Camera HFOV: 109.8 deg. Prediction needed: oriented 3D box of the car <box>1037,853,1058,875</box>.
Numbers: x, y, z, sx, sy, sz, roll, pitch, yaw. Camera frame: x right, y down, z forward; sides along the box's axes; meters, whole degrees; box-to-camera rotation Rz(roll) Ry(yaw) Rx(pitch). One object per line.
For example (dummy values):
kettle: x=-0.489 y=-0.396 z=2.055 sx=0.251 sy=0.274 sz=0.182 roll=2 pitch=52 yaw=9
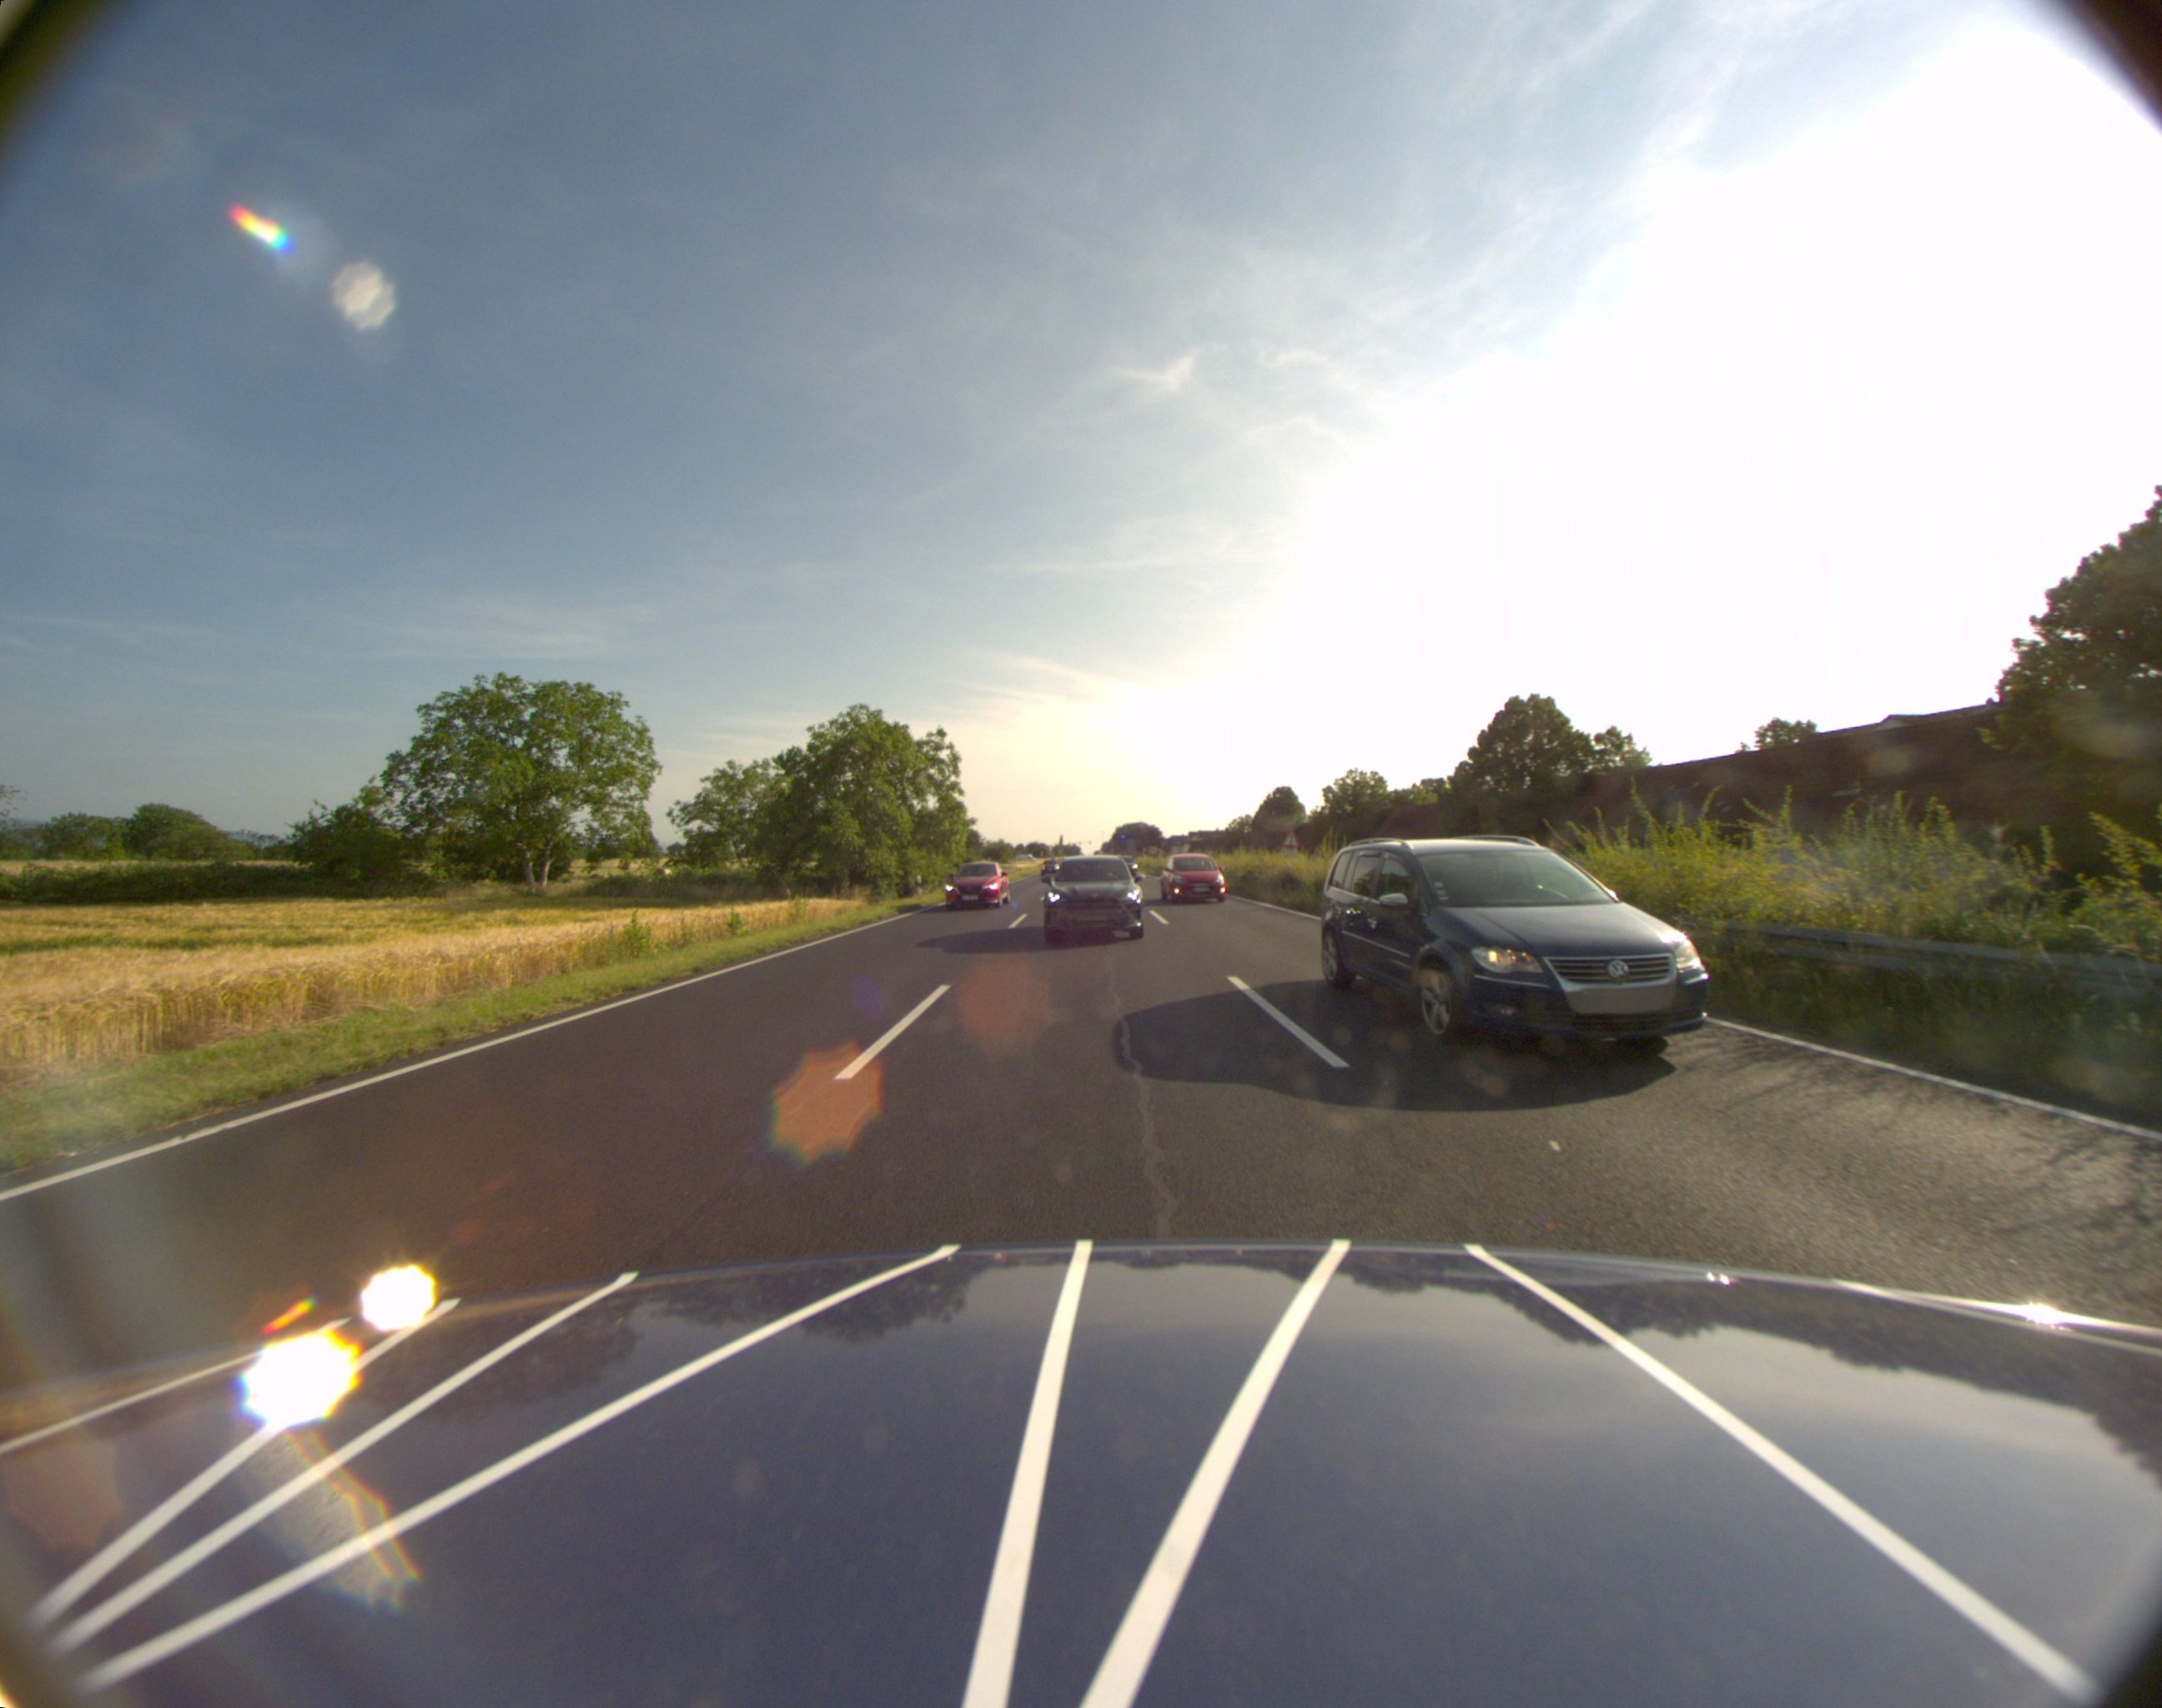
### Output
car: x=-3.334 y=0.946 z=75.898 sx=1.999 sy=2.002 sz=3.998 roll=-2 pitch=1 yaw=-2

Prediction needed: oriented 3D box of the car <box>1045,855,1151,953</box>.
car: x=0.335 y=0.884 z=15.457 sx=1.791 sy=1.594 sz=4.339 roll=-2 pitch=1 yaw=1

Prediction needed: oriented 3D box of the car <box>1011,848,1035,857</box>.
car: x=-18.277 y=-0.419 z=238.619 sx=7.202 sy=2.654 sz=2.094 roll=0 pitch=1 yaw=14

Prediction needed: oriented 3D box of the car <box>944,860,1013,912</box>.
car: x=-3.398 y=1.020 z=26.031 sx=1.708 sy=1.497 sz=4.500 roll=-2 pitch=1 yaw=0

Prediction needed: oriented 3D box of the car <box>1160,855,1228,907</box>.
car: x=3.784 y=0.863 z=26.060 sx=1.748 sy=1.537 sz=3.999 roll=-2 pitch=1 yaw=1

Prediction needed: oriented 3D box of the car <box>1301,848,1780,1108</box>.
car: x=3.619 y=0.780 z=7.203 sx=1.777 sy=1.612 sz=4.681 roll=-1 pitch=1 yaw=1

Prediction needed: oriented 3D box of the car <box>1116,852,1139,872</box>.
car: x=3.856 y=0.678 z=63.501 sx=1.719 sy=1.521 sz=3.999 roll=-2 pitch=1 yaw=1

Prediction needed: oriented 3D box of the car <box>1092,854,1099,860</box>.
car: x=4.602 y=0.940 z=239.185 sx=1.998 sy=2.002 sz=3.999 roll=-2 pitch=1 yaw=1

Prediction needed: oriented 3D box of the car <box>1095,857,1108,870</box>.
car: x=3.118 y=1.413 z=117.680 sx=1.918 sy=1.871 sz=3.999 roll=-2 pitch=1 yaw=1
